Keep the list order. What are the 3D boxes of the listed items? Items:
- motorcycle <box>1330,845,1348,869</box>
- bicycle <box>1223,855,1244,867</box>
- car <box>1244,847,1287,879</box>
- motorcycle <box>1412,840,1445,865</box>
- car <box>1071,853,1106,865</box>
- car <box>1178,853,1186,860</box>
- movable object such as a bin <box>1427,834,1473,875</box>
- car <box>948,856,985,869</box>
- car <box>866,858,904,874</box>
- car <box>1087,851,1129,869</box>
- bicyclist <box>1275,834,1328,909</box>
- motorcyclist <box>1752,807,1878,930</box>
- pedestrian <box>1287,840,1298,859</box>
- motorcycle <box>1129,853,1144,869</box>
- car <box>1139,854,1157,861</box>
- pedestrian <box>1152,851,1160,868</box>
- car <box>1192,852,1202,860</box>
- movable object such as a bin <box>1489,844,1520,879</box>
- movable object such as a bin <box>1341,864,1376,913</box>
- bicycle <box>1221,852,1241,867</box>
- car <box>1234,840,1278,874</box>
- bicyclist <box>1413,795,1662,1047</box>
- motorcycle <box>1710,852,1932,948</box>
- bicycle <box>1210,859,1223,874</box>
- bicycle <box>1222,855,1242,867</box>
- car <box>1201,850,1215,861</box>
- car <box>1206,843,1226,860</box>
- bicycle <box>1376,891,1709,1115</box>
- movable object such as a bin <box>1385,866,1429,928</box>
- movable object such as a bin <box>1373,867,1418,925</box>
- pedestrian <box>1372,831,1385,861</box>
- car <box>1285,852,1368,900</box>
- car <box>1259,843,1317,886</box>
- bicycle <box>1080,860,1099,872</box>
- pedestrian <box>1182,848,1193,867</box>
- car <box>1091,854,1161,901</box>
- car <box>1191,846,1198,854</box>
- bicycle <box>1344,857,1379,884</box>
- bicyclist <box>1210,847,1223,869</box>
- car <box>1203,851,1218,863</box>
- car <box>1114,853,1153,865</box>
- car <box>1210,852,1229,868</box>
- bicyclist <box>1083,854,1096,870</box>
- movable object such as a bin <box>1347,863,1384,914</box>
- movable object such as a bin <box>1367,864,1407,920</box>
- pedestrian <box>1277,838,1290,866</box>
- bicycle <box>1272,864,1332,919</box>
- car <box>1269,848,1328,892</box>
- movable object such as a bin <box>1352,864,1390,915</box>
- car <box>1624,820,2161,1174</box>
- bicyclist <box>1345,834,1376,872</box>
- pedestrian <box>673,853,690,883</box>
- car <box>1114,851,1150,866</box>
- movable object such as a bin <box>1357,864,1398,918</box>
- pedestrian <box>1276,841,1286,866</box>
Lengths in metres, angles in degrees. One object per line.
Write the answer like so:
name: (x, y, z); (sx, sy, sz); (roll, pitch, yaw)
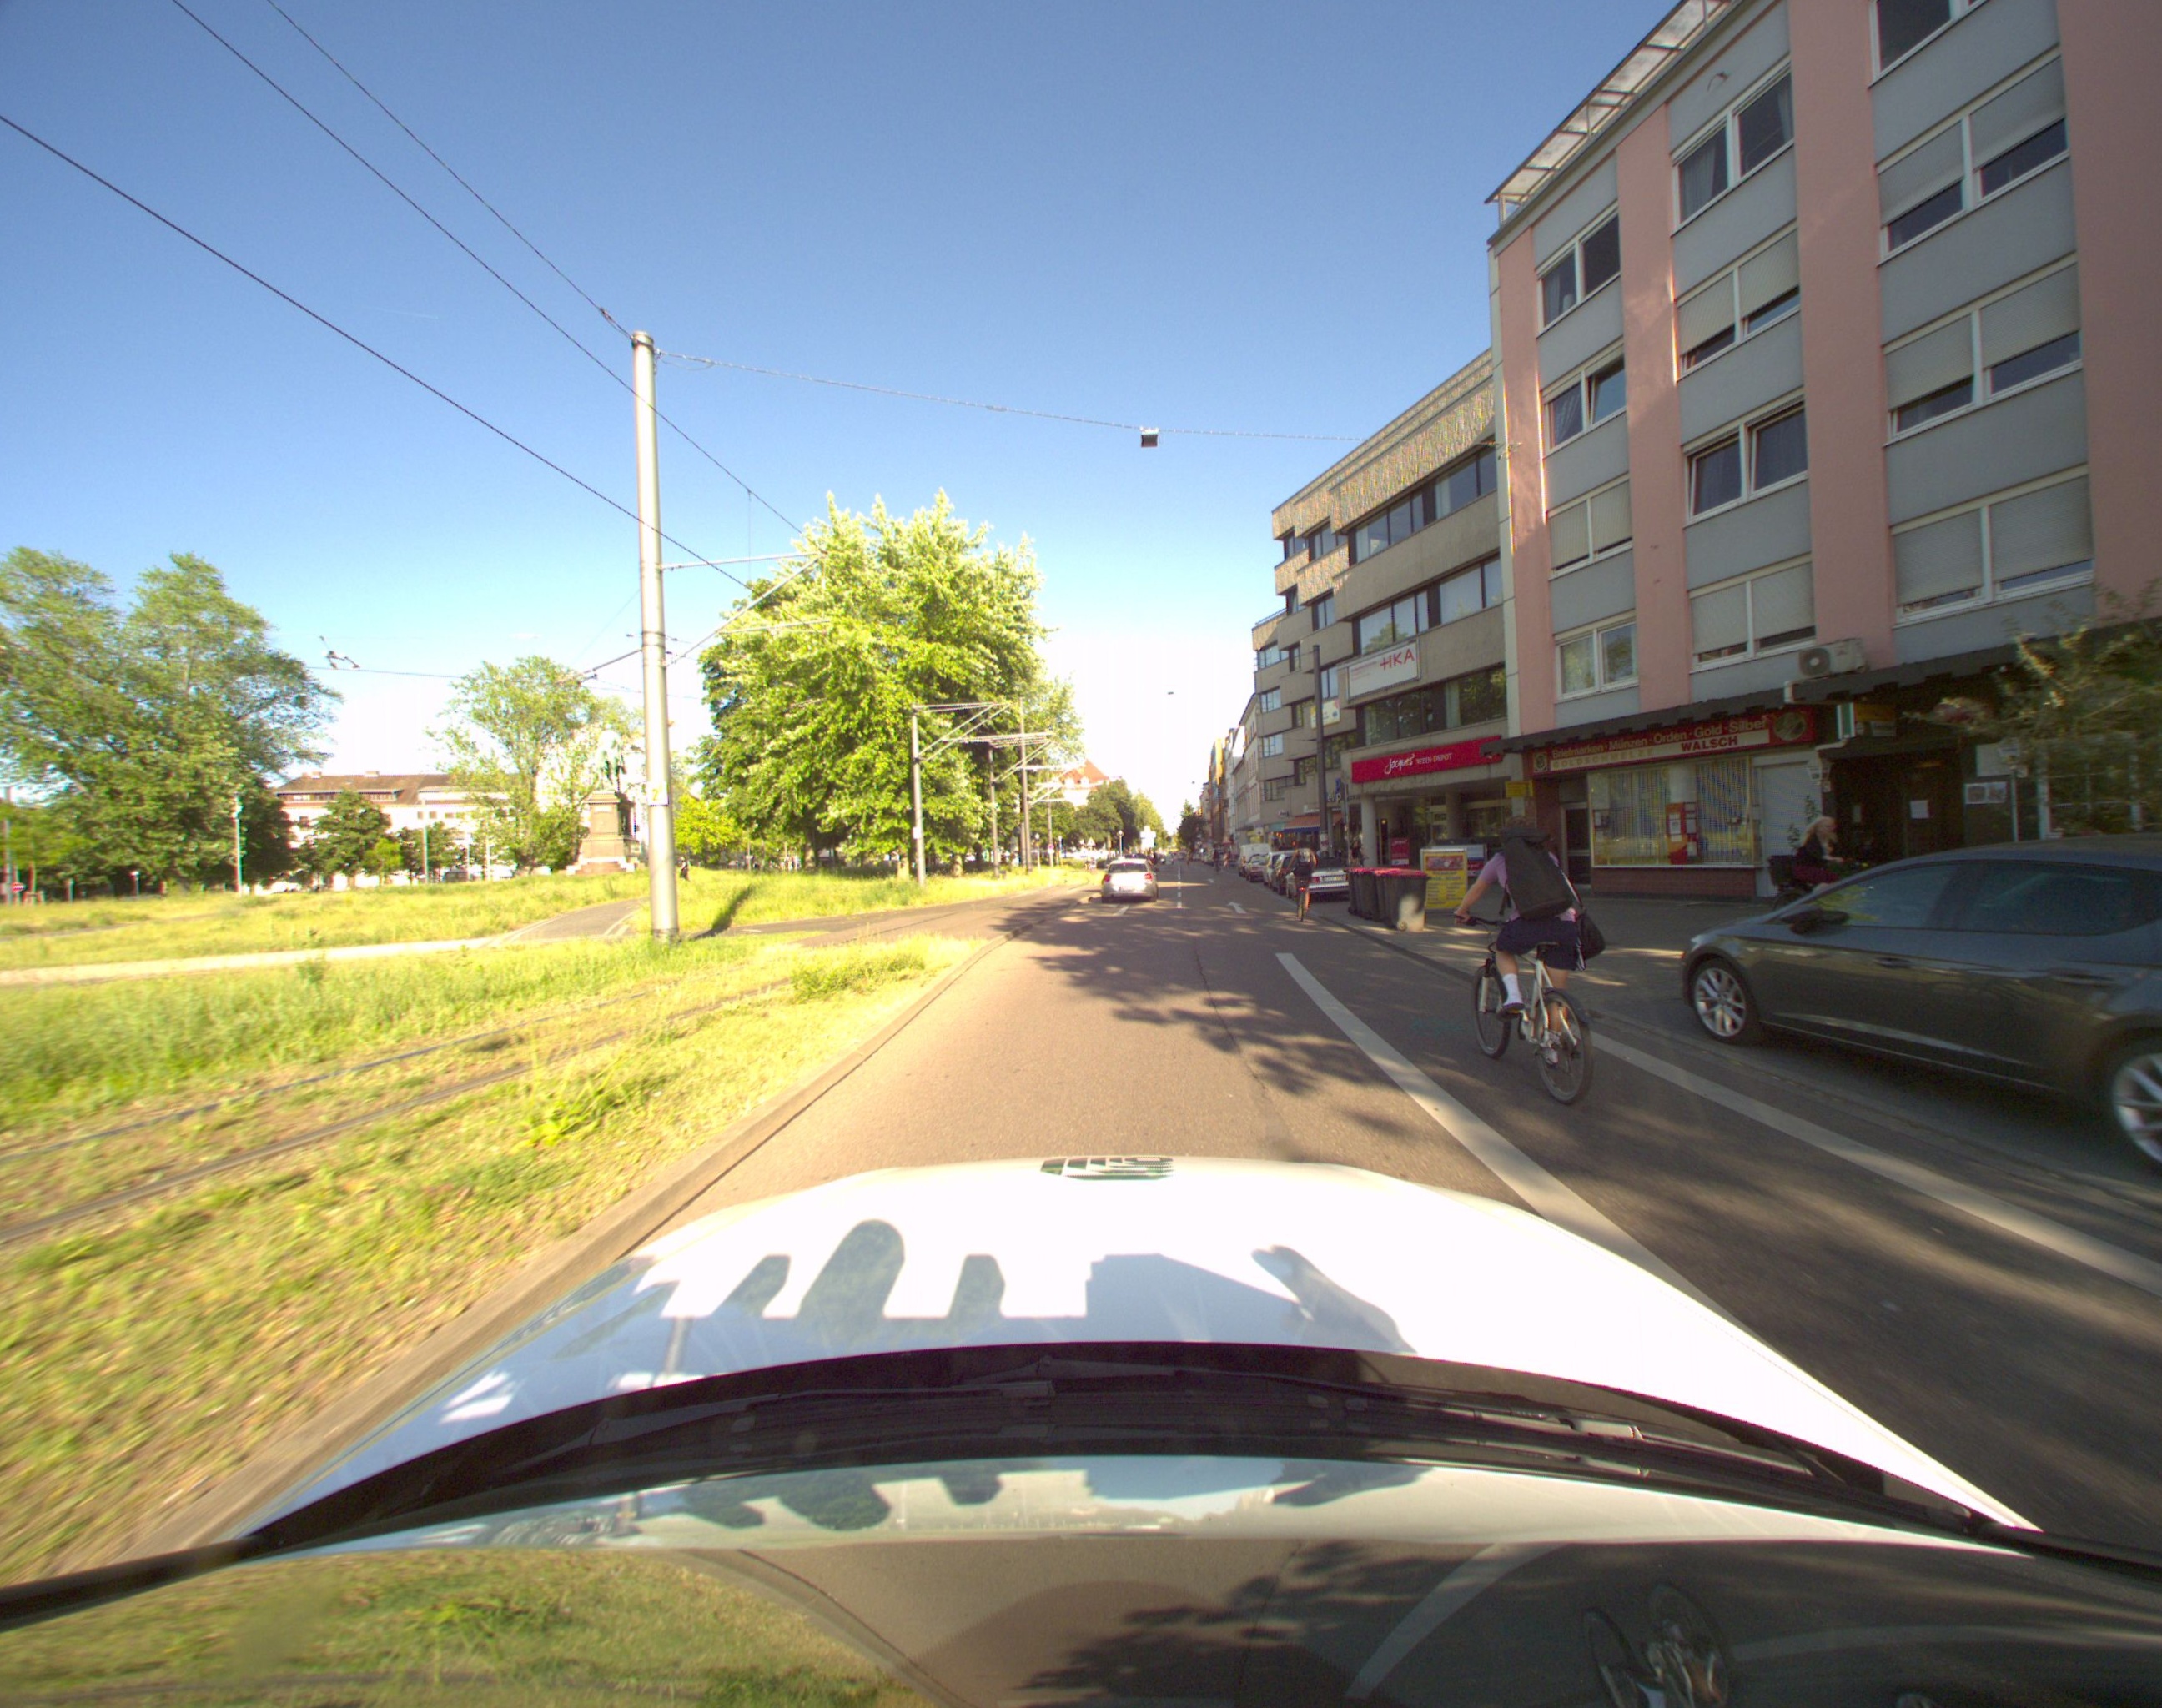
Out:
motorcycle: (13.268, 0.182, 41.879); (0.758, 1.155, 2.056); (-5, -2, 16)
bicycle: (12.970, 0.592, 69.493); (1.688, 1.004, 0.430); (-1, -1, 22)
car: (9.121, 0.454, 40.511); (1.764, 1.454, 4.742); (-1, -1, 9)
motorcycle: (16.827, -0.071, 39.473); (0.510, 1.168, 2.098); (-1, 0, -5)
car: (1.213, 0.844, 131.636); (5.281, 1.800, 2.149); (0, -1, -20)
car: (25.793, 0.674, 208.217); (1.860, 1.556, 4.008); (-1, -1, 7)
movable object such as a bin: (13.204, 0.027, 29.188); (1.326, 1.398, 1.125); (-1, -1, 14)
car: (-18.258, 1.391, 130.273); (5.594, 2.014, 1.805); (0, -1, -20)
car: (-29.216, 1.761, 121.342); (5.348, 2.314, 1.988); (-1, -1, -17)
car: (2.821, 0.670, 84.572); (3.878, 1.682, 1.796); (-2, -1, -26)
bicyclist: (5.043, 0.399, 18.576); (0.930, 1.633, 0.941); (-2, -2, 30)
motorcyclist: (9.701, 0.191, 10.795); (0.895, 1.551, 0.805); (-1, -1, -3)
pedestrian: (14.327, -0.316, 55.152); (0.626, 1.236, 0.626); (-4, -2, 10)
motorcycle: (4.859, 0.623, 71.658); (0.747, 1.374, 1.751); (0, -1, -17)
car: (14.944, 0.732, 181.885); (3.965, 1.508, 1.898); (-1, -1, 7)
pedestrian: (7.241, 0.516, 78.637); (0.632, 1.672, 0.694); (-1, -1, 7)
car: (24.444, 0.493, 172.180); (1.982, 1.618, 4.020); (-1, -1, 9)
movable object such as a bin: (13.999, 0.246, 26.947); (0.738, 1.134, 0.725); (-1, -1, 13)
movable object such as a bin: (6.278, 0.779, 18.435); (0.590, 1.083, 0.605); (-1, -1, 3)
bicycle: (13.074, 0.492, 70.957); (1.606, 1.243, 0.663); (-1, -2, 26)
car: (10.006, 0.204, 46.832); (1.983, 1.813, 4.317); (-1, -1, 6)
bicyclist: (2.929, 0.401, 5.353); (1.036, 1.484, 0.987); (-1, -1, -4)
motorcycle: (9.704, 0.566, 10.843); (0.774, 1.126, 2.295); (-1, -1, -3)
bicycle: (9.002, 0.828, 54.090); (0.649, 0.958, 2.702); (-1, -1, 5)
bicycle: (12.812, 0.600, 69.141); (1.664, 1.062, 0.345); (-1, -2, 22)
car: (20.445, 0.322, 131.193); (1.889, 1.675, 4.833); (-1, -1, 6)
car: (16.640, -0.300, 100.527); (1.984, 2.005, 5.125); (-2, 0, 5)
bicycle: (2.927, 0.856, 5.555); (0.884, 1.136, 2.225); (-1, -1, -4)
movable object such as a bin: (5.900, 0.773, 14.756); (0.571, 1.082, 0.571); (-1, -1, 3)
movable object such as a bin: (5.948, 0.782, 15.434); (0.616, 1.069, 0.611); (-1, -1, 3)
pedestrian: (18.634, -0.485, 50.936); (0.697, 1.816, 0.720); (-1, -2, 22)
car: (7.454, 0.661, 25.168); (1.840, 1.344, 4.611); (-1, -1, 9)
car: (8.633, 0.458, 34.246); (1.842, 1.689, 3.874); (-1, -1, 6)
bicycle: (0.756, 1.135, 74.237); (0.812, 1.069, 2.565); (0, -1, -20)
pedestrian: (9.959, 0.347, 75.879); (0.671, 1.699, 0.798); (0, -2, -25)
car: (1.621, 0.773, 27.591); (1.982, 1.423, 4.206); (-1, -1, 8)
car: (31.797, -1.075, 228.320); (1.983, 2.014, 4.007); (-2, 0, 6)
bicycle: (9.877, 0.578, 28.788); (0.532, 0.891, 2.070); (-1, -1, 1)
bicyclist: (9.004, 0.249, 54.209); (0.782, 1.453, 1.097); (-1, -1, 5)
car: (17.493, 0.413, 109.973); (1.709, 1.515, 3.589); (-4, -2, 6)
car: (7.025, 0.683, 109.261); (4.847, 1.488, 1.754); (-1, -1, -17)
car: (15.290, 0.664, 90.143); (1.736, 1.739, 4.969); (-1, -1, 7)
bicyclist: (0.753, 0.734, 74.244); (0.932, 1.507, 0.820); (0, -1, -21)
movable object such as a bin: (6.229, 0.747, 17.843); (0.607, 1.105, 0.526); (-1, -1, 3)
movable object such as a bin: (6.012, 0.745, 16.015); (0.588, 1.069, 0.496); (-1, -1, 3)
pedestrian: (13.689, -0.110, 55.129); (0.666, 1.856, 0.612); (-5, -2, 10)
bicycle: (5.055, 0.828, 18.540); (0.812, 1.185, 1.976); (-2, -1, 29)
car: (8.009, 0.585, 30.297); (1.661, 1.518, 4.209); (-1, -1, 9)
movable object such as a bin: (6.148, 0.743, 17.279); (0.602, 1.069, 0.545); (-1, -1, 3)
car: (5.477, 0.567, 4.768); (1.757, 1.438, 4.589); (-3, 0, 4)
bicyclist: (9.873, -0.029, 28.786); (0.755, 1.326, 0.994); (-1, -1, 0)
pedestrian: (-21.702, 0.786, 44.251); (0.548, 1.616, 0.679); (-2, -2, 44)
car: (6.095, 0.511, 97.794); (3.986, 1.668, 1.993); (-1, 0, -10)
movable object such as a bin: (6.042, 0.748, 16.603); (0.603, 1.069, 0.614); (-1, -1, 3)
pedestrian: (13.761, -0.025, 55.919); (0.580, 1.714, 0.699); (-1, -1, 10)
